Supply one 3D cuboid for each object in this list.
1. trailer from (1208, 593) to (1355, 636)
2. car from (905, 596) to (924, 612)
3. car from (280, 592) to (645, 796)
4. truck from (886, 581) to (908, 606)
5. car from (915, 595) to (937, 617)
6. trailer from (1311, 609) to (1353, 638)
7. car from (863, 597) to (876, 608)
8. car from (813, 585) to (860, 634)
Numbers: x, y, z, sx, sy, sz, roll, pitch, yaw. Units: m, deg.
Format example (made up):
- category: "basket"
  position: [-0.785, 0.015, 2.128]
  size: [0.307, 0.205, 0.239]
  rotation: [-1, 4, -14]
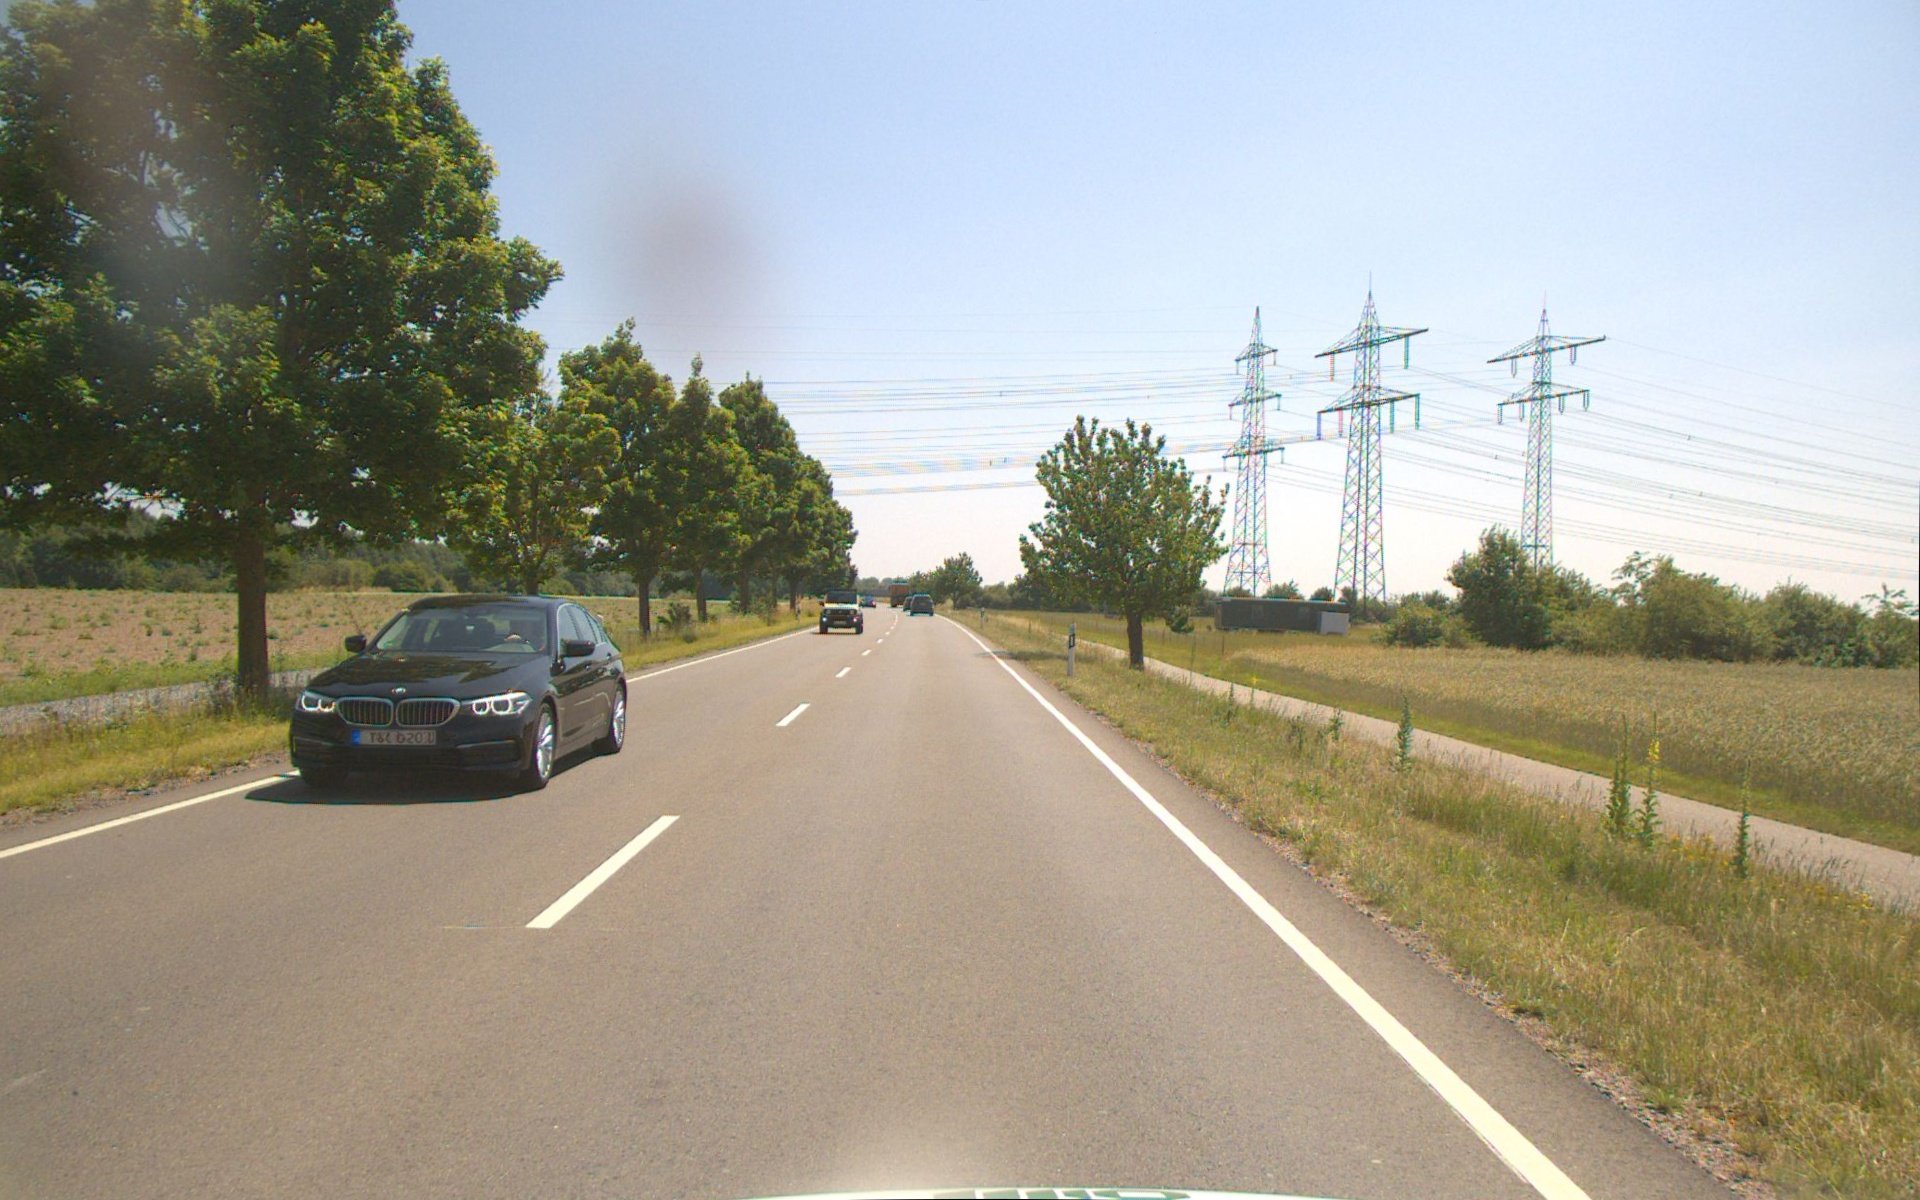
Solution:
- category: "trailer"
  position: [30.371, 1.375, 156.522]
  size: [13.243, 3.536, 3.274]
  rotation: [2, 0, -4]
- category: "car"
  position: [-4.692, 0.411, 170.917]
  size: [1.814, 1.549, 3.996]
  rotation: [1, 0, -4]
- category: "car"
  position: [-4.019, 0.689, 14.212]
  size: [1.785, 1.445, 4.588]
  rotation: [1, 0, -1]
- category: "truck"
  position: [-8.460, -0.832, 221.751]
  size: [2.325, 3.195, 8.737]
  rotation: [1, 0, -5]
- category: "car"
  position: [-2.745, 0.459, 133.559]
  size: [1.680, 1.723, 3.987]
  rotation: [1, 0, -2]
- category: "trailer"
  position: [34.655, 2.162, 154.005]
  size: [3.340, 2.505, 2.036]
  rotation: [2, 0, -4]
- category: "car"
  position: [-11.576, 0.305, 211.679]
  size: [1.670, 1.356, 3.998]
  rotation: [1, 0, -2]
- category: "car"
  position: [-5.035, 0.381, 67.750]
  size: [1.647, 1.881, 3.999]
  rotation: [1, 0, -1]
